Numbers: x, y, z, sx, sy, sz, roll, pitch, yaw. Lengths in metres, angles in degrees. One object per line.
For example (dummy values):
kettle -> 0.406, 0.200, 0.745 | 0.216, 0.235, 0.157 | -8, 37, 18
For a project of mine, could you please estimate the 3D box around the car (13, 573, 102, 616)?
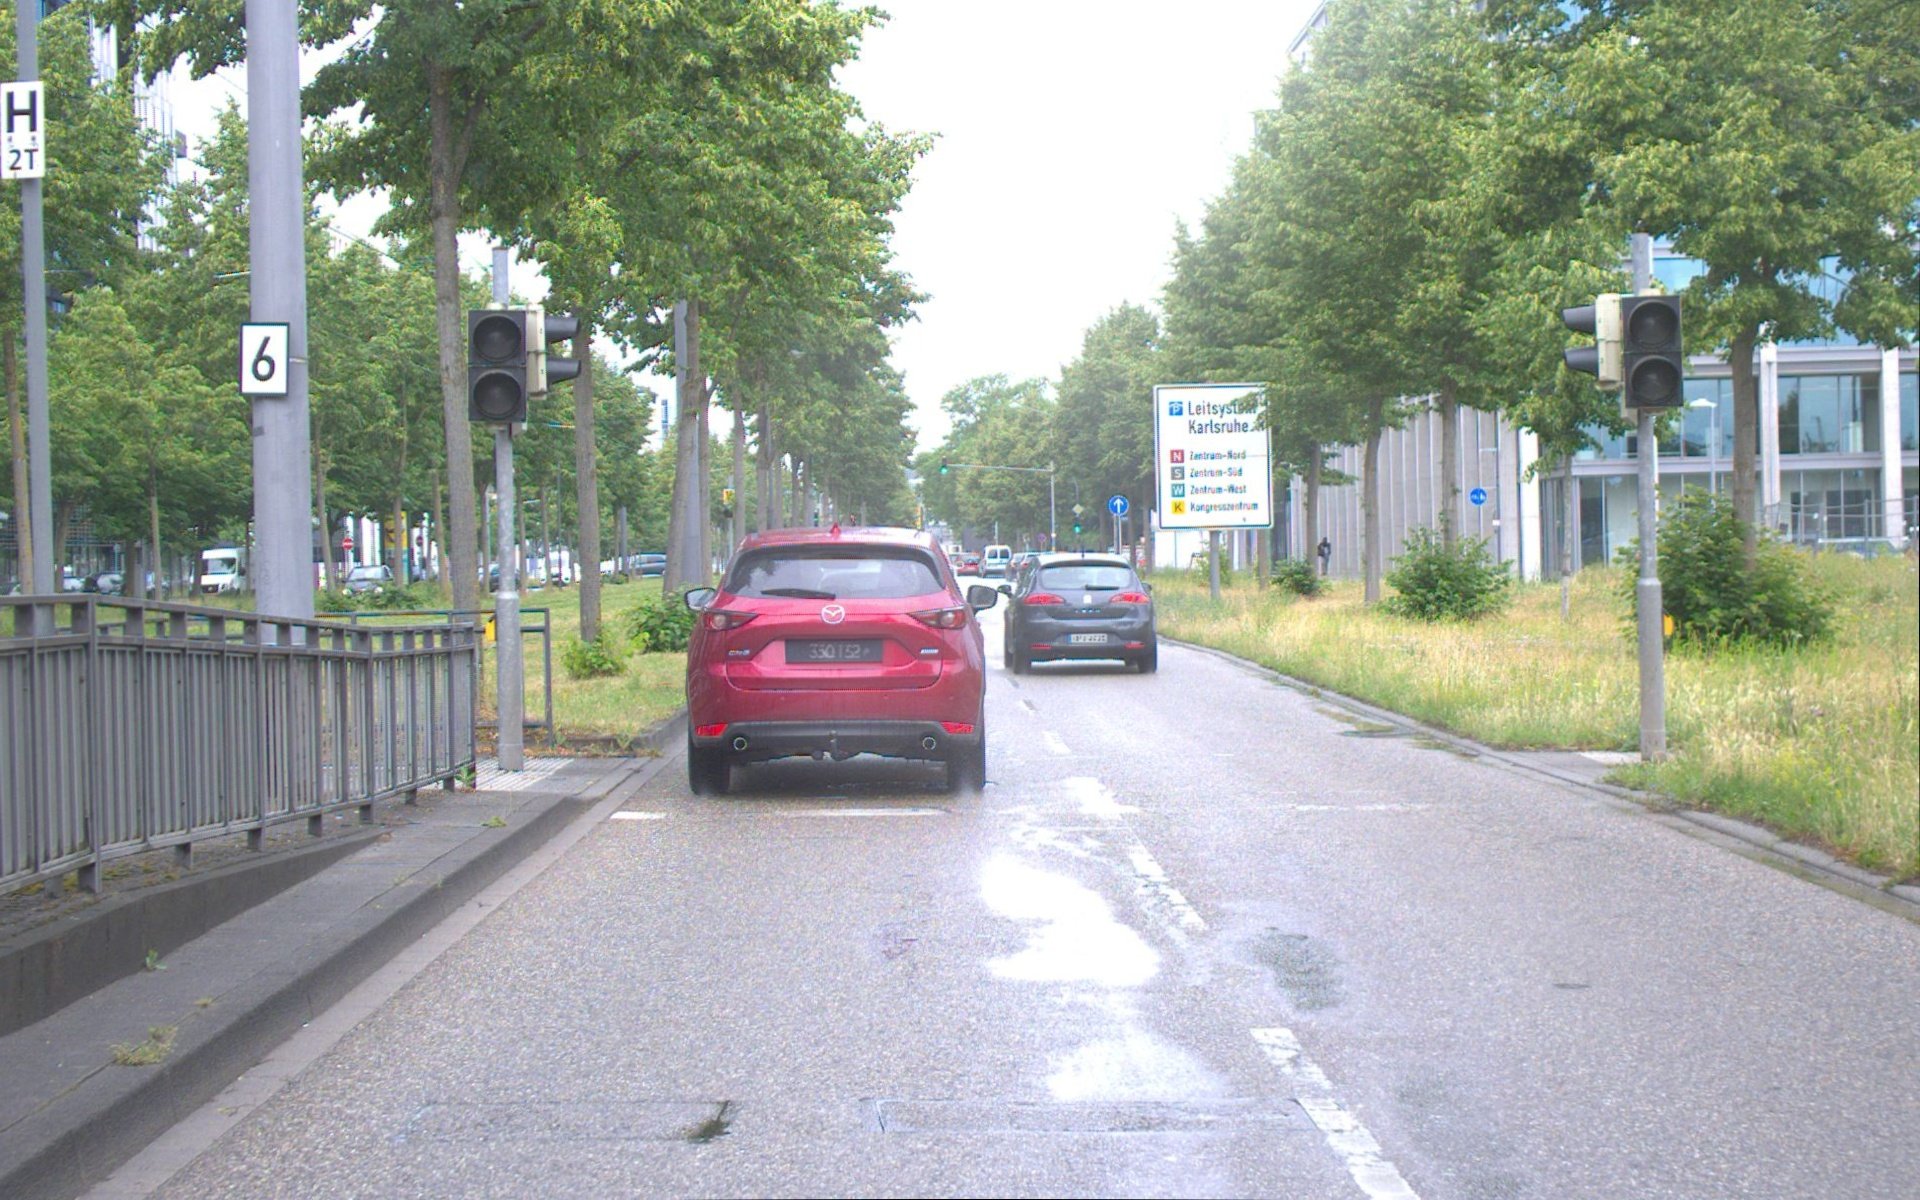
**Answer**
car -> -30.718, -0.199, 117.126 | 1.993, 1.373, 4.000 | -1, 1, -1

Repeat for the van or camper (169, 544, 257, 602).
van or camper -> -31.204, -1.151, 143.730 | 2.433, 2.307, 5.850 | -1, 1, -1

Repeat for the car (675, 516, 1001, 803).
car -> -0.766, 0.322, 22.287 | 1.898, 1.671, 4.000 | -1, 1, -1

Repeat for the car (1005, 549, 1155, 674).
car -> 1.442, 0.106, 42.439 | 1.743, 1.460, 3.781 | -1, 1, 1

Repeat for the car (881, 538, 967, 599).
car -> -0.915, -0.783, 84.322 | 1.967, 1.432, 4.553 | 0, 1, -2

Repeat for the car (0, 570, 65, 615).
car -> -30.279, -0.252, 110.511 | 1.993, 1.373, 4.000 | 0, 1, -1
